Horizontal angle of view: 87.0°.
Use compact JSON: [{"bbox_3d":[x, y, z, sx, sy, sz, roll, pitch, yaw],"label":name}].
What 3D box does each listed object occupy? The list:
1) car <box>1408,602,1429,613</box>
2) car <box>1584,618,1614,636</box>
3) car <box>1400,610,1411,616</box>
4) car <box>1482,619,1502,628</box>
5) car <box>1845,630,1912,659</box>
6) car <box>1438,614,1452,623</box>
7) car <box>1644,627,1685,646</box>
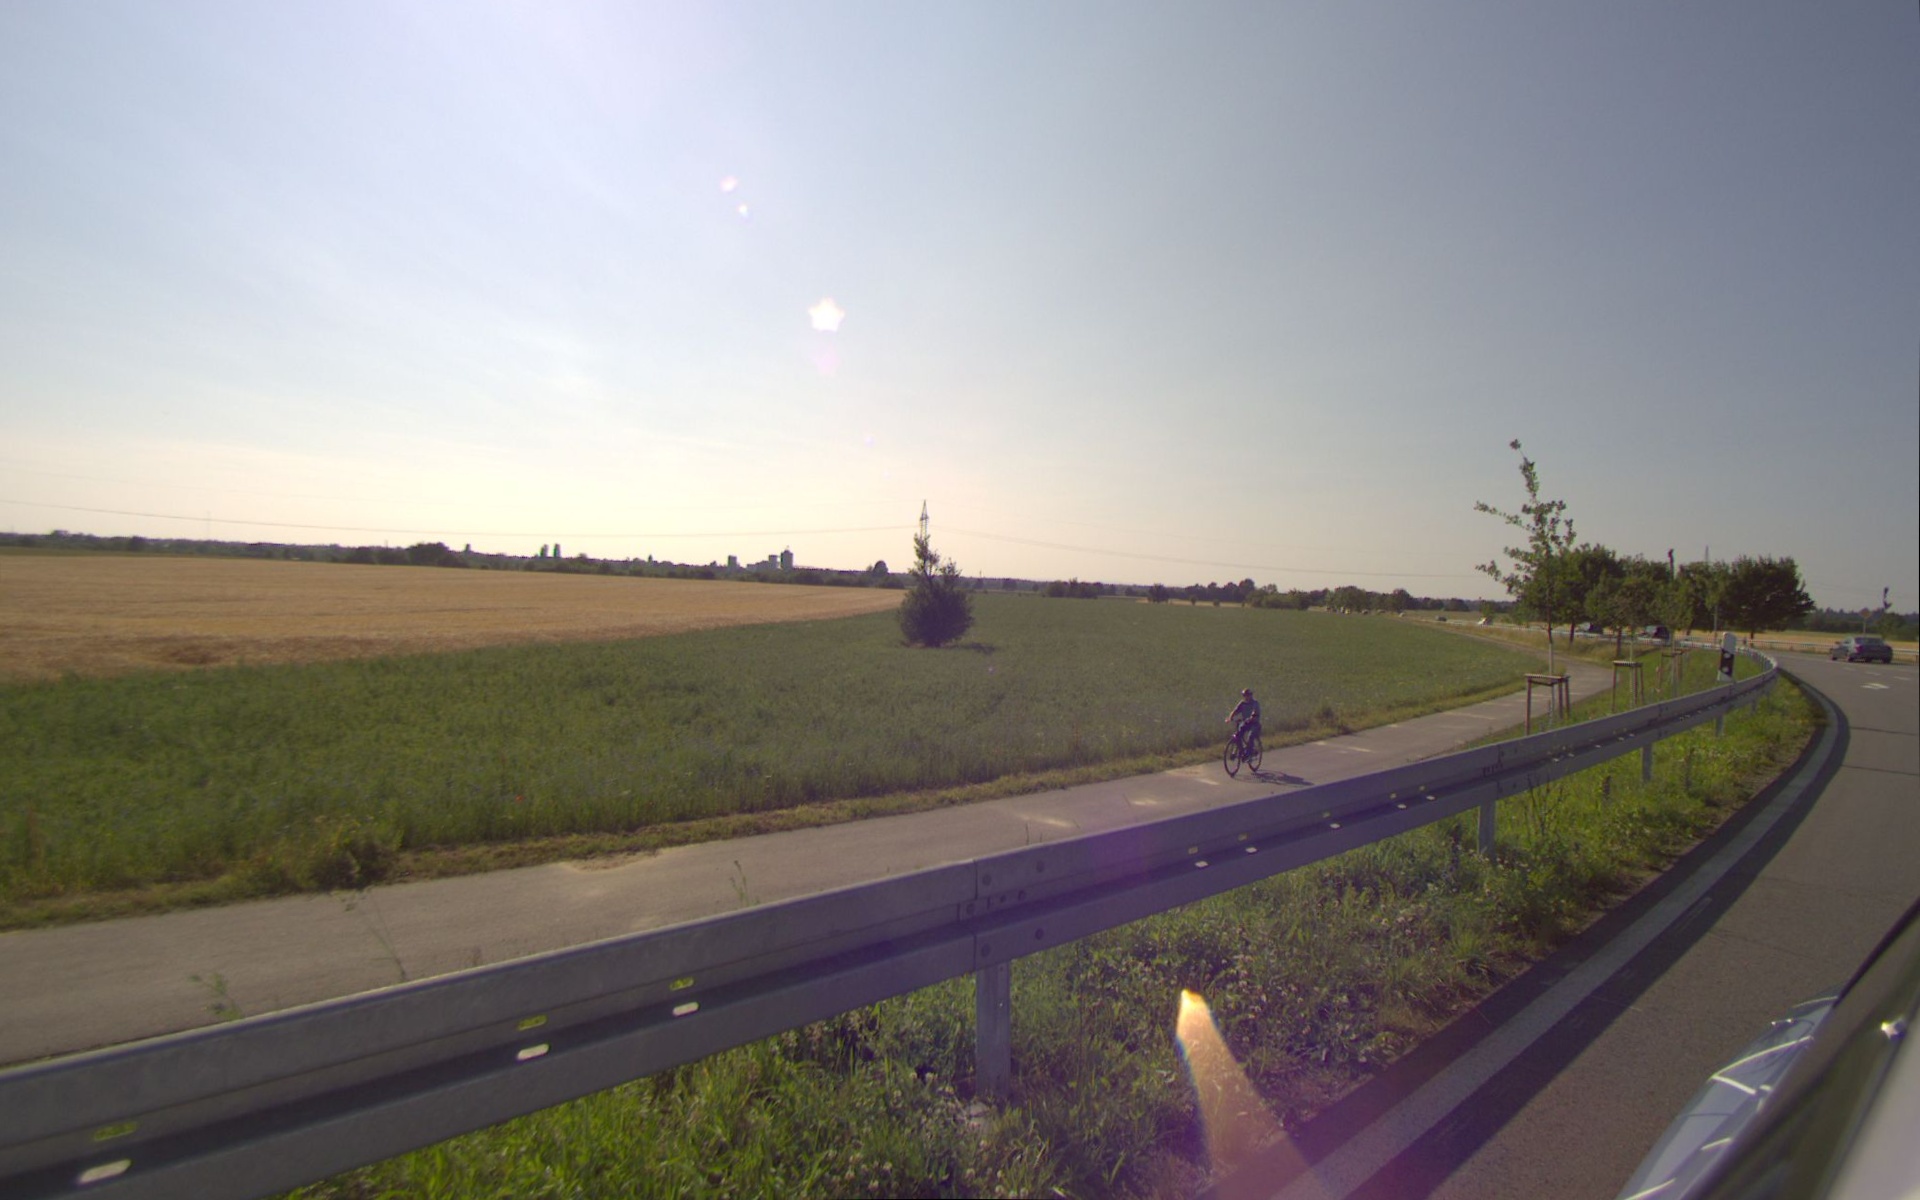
[{"bbox_3d":[83.751,1.324,184.969,2.779,2.039,6.068,0,0,17],"label":"car"},{"bbox_3d":[73.542,3.112,116.558,1.865,1.820,5.057,0,1,21],"label":"car"},{"bbox_3d":[105.064,3.055,238.850,1.732,1.447,3.828,1,0,15],"label":"car"},{"bbox_3d":[85.850,3.766,163.331,1.832,1.467,4.134,0,0,15],"label":"car"},{"bbox_3d":[51.450,2.526,56.797,1.785,1.467,4.654,1,-3,29],"label":"car"},{"bbox_3d":[94.331,3.625,196.869,1.817,1.563,4.225,0,1,15],"label":"car"},{"bbox_3d":[68.045,3.493,97.805,1.975,1.613,4.831,1,0,20],"label":"car"}]
